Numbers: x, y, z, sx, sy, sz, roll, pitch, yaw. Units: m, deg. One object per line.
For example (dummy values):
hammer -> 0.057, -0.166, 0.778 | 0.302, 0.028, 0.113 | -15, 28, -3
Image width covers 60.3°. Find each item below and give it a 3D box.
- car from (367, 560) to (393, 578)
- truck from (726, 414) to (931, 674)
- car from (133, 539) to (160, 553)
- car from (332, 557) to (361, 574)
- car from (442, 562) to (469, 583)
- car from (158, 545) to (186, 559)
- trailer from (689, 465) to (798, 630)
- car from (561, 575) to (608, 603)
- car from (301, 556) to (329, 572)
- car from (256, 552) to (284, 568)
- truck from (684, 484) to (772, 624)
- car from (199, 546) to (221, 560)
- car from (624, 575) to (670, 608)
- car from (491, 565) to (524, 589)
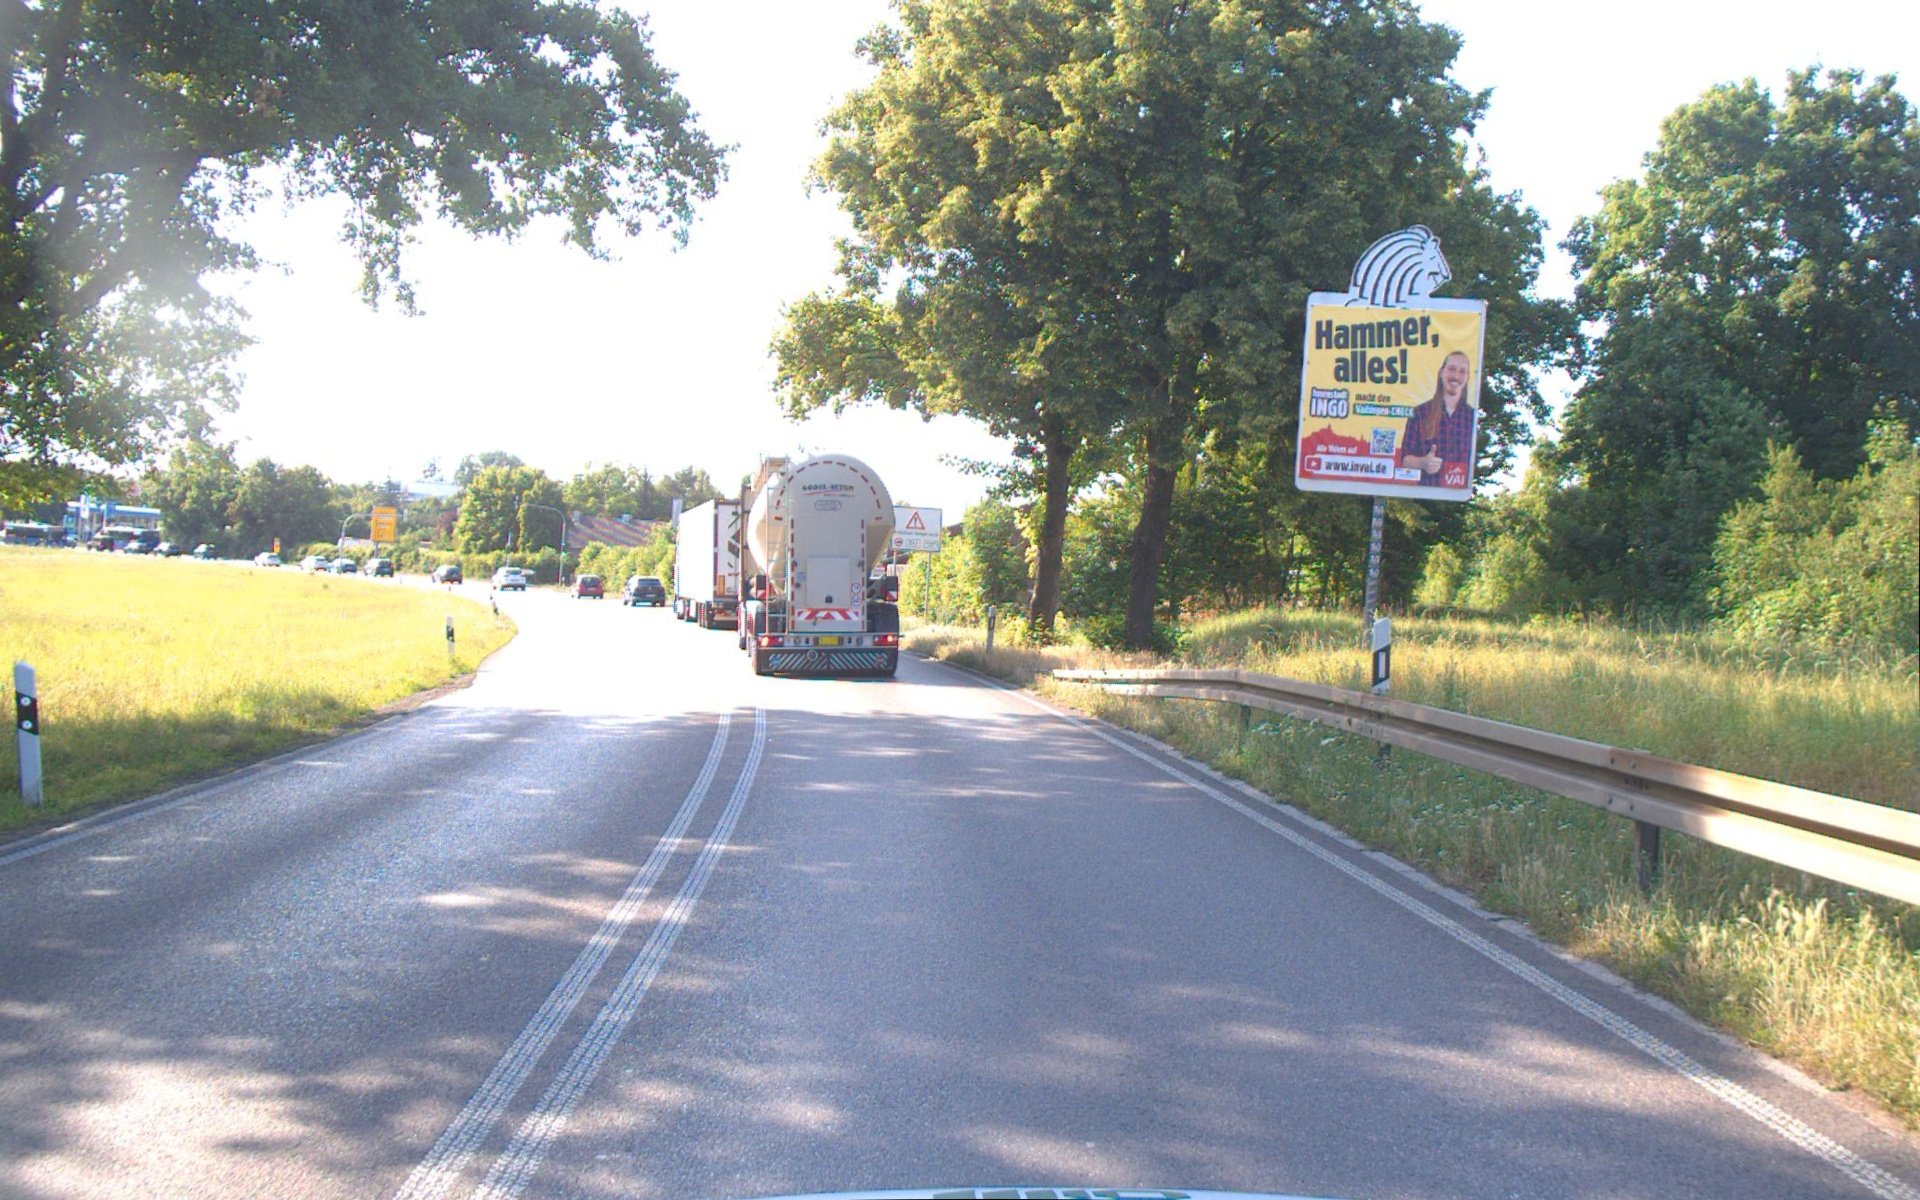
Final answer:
car -> -55.485, -2.975, 158.162 | 1.506, 1.685, 3.828 | 1, 0, -33
truck -> -2.974, -0.911, 33.094 | 2.922, 4.248, 11.633 | 1, 0, -10
car -> -103.737, -6.879, 210.891 | 2.075, 1.627, 3.938 | 1, 1, -43
car -> -61.943, -3.458, 166.874 | 1.667, 1.586, 3.820 | 1, 0, -38
car -> -42.516, -2.314, 139.371 | 1.502, 1.685, 3.838 | 1, 0, -27
car -> -97.000, -5.906, 203.530 | 2.075, 1.627, 3.938 | 1, 1, -43
trailer -> -7.411, -1.583, 55.490 | 2.911, 4.967, 10.259 | 1, 0, -11
car -> -23.631, -0.671, 103.896 | 2.266, 1.685, 4.388 | 1, 0, -21
car -> -67.771, -3.772, 173.745 | 1.667, 1.586, 3.820 | 1, 0, -38
car -> -76.945, -4.452, 184.472 | 1.962, 1.685, 3.820 | 1, 0, -38
truck -> -8.882, -1.647, 62.838 | 2.910, 4.972, 6.412 | 1, 0, -11
car -> -91.957, -5.737, 202.742 | 1.714, 1.685, 3.822 | 1, 0, -37
car -> -16.539, -0.440, 87.330 | 1.962, 1.685, 3.981 | 1, 0, -17
car -> -34.035, -1.703, 124.304 | 1.817, 1.685, 3.970 | 1, 0, -24
